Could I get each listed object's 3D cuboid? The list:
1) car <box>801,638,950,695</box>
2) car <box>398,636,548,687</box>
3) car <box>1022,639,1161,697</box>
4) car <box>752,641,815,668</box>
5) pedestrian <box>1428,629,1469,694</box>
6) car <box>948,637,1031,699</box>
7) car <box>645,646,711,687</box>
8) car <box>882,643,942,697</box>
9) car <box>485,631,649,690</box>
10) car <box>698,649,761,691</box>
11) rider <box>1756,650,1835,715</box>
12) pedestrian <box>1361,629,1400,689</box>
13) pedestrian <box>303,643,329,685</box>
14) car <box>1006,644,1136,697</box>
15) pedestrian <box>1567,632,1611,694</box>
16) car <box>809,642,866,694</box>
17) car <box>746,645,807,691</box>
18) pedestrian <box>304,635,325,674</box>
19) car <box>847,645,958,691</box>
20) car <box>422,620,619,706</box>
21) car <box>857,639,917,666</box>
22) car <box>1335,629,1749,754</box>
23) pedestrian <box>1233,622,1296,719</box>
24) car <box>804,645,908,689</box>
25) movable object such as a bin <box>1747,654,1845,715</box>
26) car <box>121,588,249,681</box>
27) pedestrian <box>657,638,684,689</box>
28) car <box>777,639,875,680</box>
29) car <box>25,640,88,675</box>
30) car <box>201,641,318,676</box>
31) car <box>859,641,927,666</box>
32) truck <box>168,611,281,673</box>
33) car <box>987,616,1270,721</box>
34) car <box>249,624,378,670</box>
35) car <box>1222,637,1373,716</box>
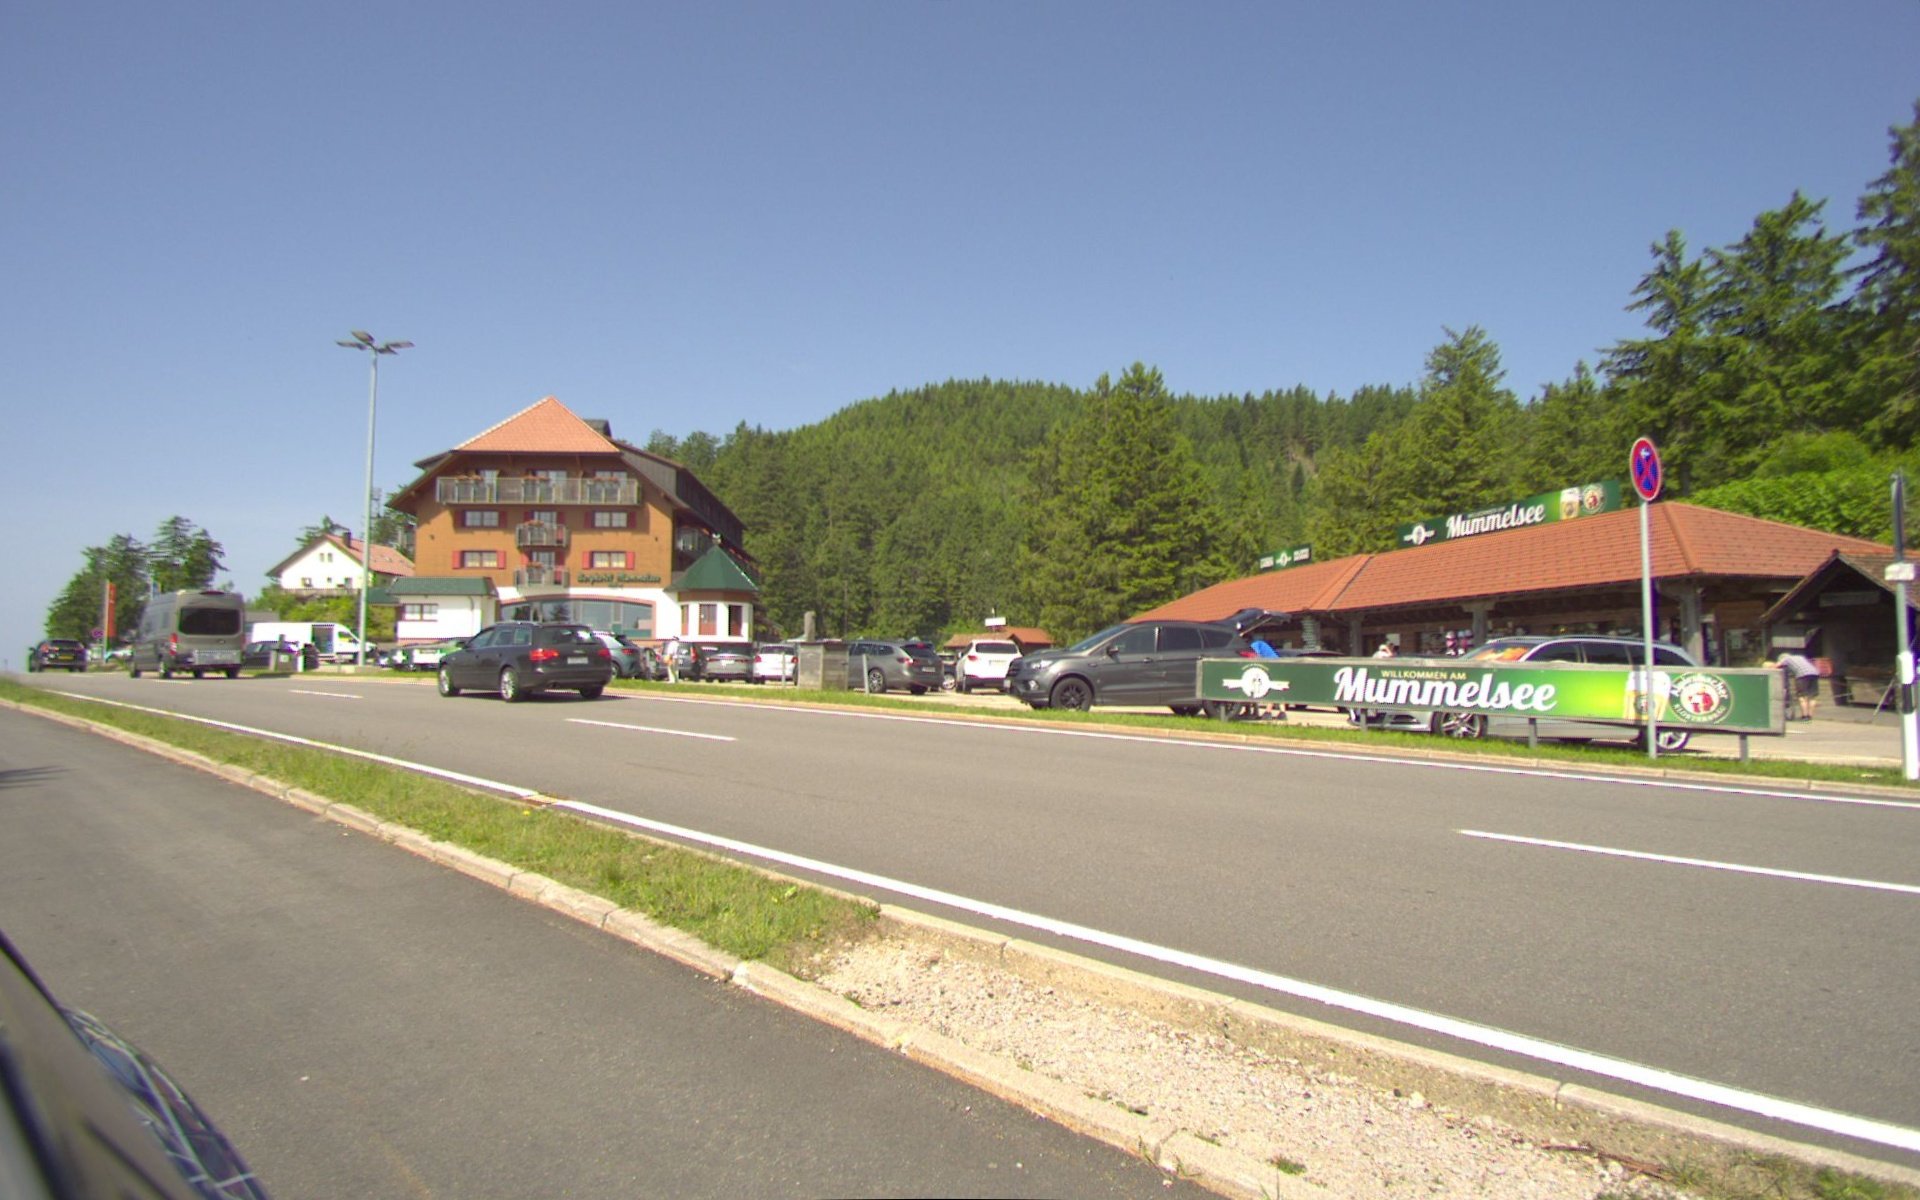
[{"bbox_3d":[-2.347,1.766,27.483,3.997,1.441,1.699,-2,-4,40],"label":"car"},{"bbox_3d":[-16.444,2.079,34.354,4.204,1.641,1.827,1,-3,-7],"label":"car"},{"bbox_3d":[4.145,2.157,32.313,4.031,1.729,1.923,1,-3,-6],"label":"car"},{"bbox_3d":[-11.766,3.657,67.802,4.031,1.729,1.923,1,-3,-6],"label":"car"},{"bbox_3d":[15.518,1.950,32.180,0.711,2.029,0.929,1,-2,-13],"label":"pedestrian"},{"bbox_3d":[0.825,2.040,30.775,1.890,1.729,4.101,1,-3,-7],"label":"car"},{"bbox_3d":[-11.177,2.637,40.402,1.796,1.524,4.099,1,-3,-5],"label":"car"},{"bbox_3d":[-1.658,2.283,33.608,1.796,1.641,4.099,1,-3,-5],"label":"car"},{"bbox_3d":[-11.613,1.804,30.129,4.204,1.641,1.827,1,-3,-7],"label":"car"},{"bbox_3d":[-8.792,2.648,38.929,1.796,1.524,4.099,1,-3,-5],"label":"car"},{"bbox_3d":[17.033,1.661,20.651,0.828,1.284,0.908,0,-2,3],"label":"rider"},{"bbox_3d":[14.421,2.013,34.689,0.843,2.029,0.965,2,-3,-43],"label":"pedestrian"},{"bbox_3d":[-31.463,3.103,49.447,0.792,2.029,0.717,0,-2,1],"label":"pedestrian"},{"bbox_3d":[3.790,2.408,34.882,4.029,1.729,1.924,1,-3,-9],"label":"car"},{"bbox_3d":[18.026,1.804,29.015,0.739,1.750,0.803,0,-2,3],"label":"pedestrian"},{"bbox_3d":[-4.145,2.304,34.651,1.796,1.641,4.099,1,-3,-5],"label":"car"},{"bbox_3d":[-6.529,2.393,36.333,1.796,1.524,4.099,1,-3,-5],"label":"car"},{"bbox_3d":[-31.549,2.668,49.441,0.663,1.878,0.752,3,-4,-43],"label":"pedestrian"},{"bbox_3d":[-2.208,2.547,38.304,4.030,1.641,1.827,1,-3,-7],"label":"car"},{"bbox_3d":[-8.387,1.144,19.129,4.448,1.449,1.688,-2,-3,41],"label":"car"},{"bbox_3d":[-5.019,3.607,69.467,4.031,1.729,1.923,1,-3,-6],"label":"car"},{"bbox_3d":[7.372,1.156,13.044,4.432,1.441,1.724,1,-3,-6],"label":"car"},{"bbox_3d":[5.312,1.223,17.687,0.734,1.648,0.849,1,-3,-11],"label":"pedestrian"},{"bbox_3d":[-4.209,2.684,40.716,4.030,1.641,1.827,1,-3,-7],"label":"car"},{"bbox_3d":[17.092,1.715,20.736,0.971,1.198,1.216,0,-2,3],"label":"movable object such as a bin"},{"bbox_3d":[-25.259,1.140,32.899,5.912,2.772,1.991,-2,-4,40],"label":"car"},{"bbox_3d":[-9.312,2.032,32.531,0.733,1.637,0.685,2,-3,-21],"label":"pedestrian"},{"bbox_3d":[-5.736,2.539,43.377,4.030,1.641,1.827,1,-3,-7],"label":"car"},{"bbox_3d":[-45.074,2.840,50.451,4.127,1.695,1.699,-2,-3,40],"label":"car"},{"bbox_3d":[-32.439,2.710,47.003,4.027,1.539,1.828,1,-3,-11],"label":"car"},{"bbox_3d":[-4.911,3.914,73.573,4.771,1.729,1.923,1,-3,-6],"label":"car"},{"bbox_3d":[-49.155,2.823,68.009,2.836,3.850,9.039,-1,-2,-13],"label":"truck"},{"bbox_3d":[2.849,1.180,17.489,4.479,1.669,1.725,1,-3,-9],"label":"car"},{"bbox_3d":[-41.681,3.063,65.468,6.847,2.812,2.674,2,-3,-32],"label":"car"},{"bbox_3d":[8.061,1.803,24.617,1.890,1.729,4.101,1,-3,-7],"label":"car"}]
